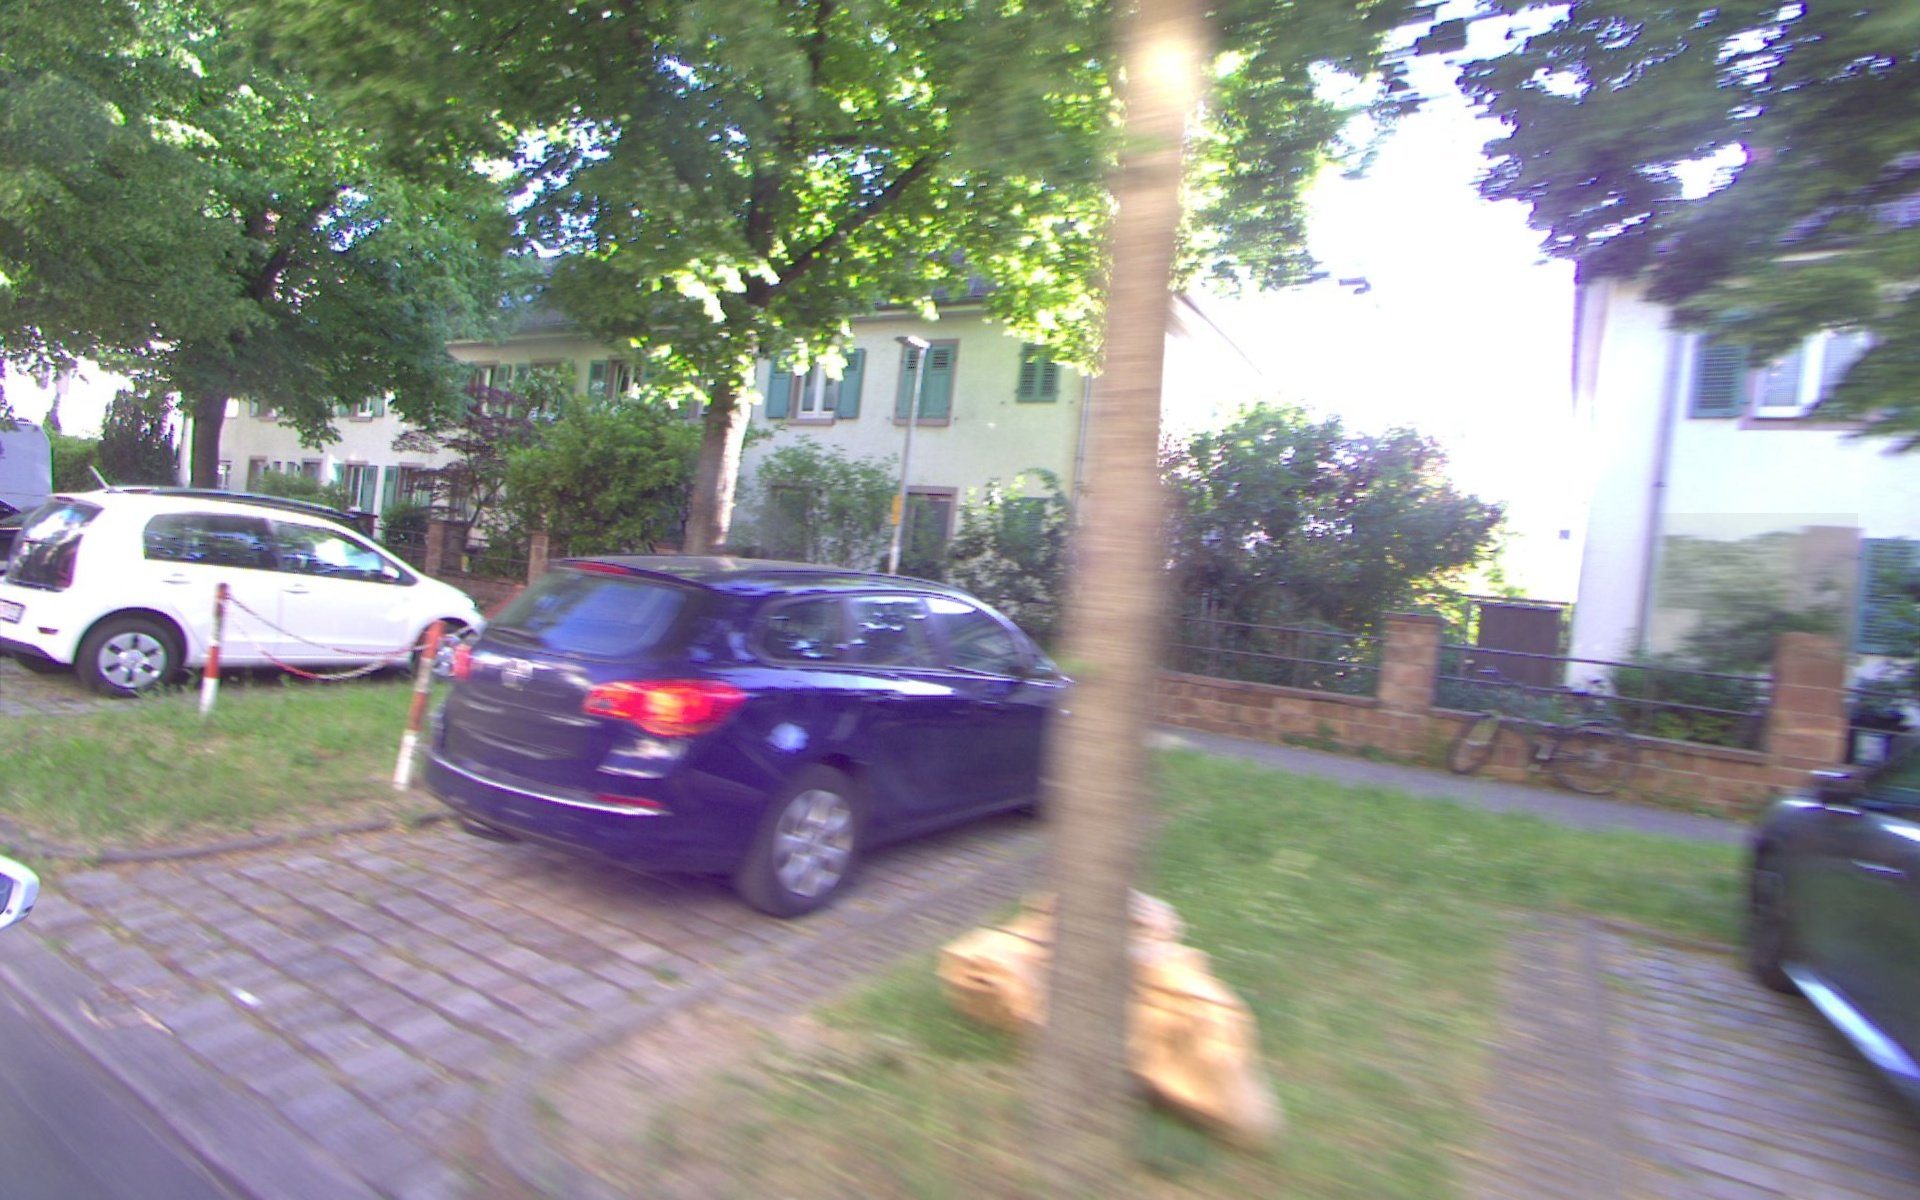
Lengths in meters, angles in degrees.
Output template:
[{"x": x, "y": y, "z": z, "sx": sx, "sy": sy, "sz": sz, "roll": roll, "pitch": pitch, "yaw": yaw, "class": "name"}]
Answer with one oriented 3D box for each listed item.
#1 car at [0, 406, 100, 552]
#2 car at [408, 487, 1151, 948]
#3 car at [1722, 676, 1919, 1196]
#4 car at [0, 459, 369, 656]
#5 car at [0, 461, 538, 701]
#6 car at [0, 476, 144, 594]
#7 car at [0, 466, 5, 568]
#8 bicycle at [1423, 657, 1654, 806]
[{"x": -22.727, "y": -2.853, "z": 20.698, "sx": 2.422, "sy": 3.017, "sz": 7.154, "roll": 7, "pitch": 1, "yaw": 29, "class": "car"}, {"x": -0.549, "y": 0.491, "z": 5.757, "sx": 1.664, "sy": 1.619, "sz": 4.225, "roll": 5, "pitch": -1, "yaw": 33, "class": "car"}, {"x": 3.797, "y": 1.079, "z": 2.966, "sx": 1.661, "sy": 1.472, "sz": 4.040, "roll": 7, "pitch": 0, "yaw": 27, "class": "car"}, {"x": -8.352, "y": -0.373, "z": 9.750, "sx": 1.675, "sy": 1.619, "sz": 4.141, "roll": 5, "pitch": -1, "yaw": 33, "class": "car"}, {"x": -5.958, "y": -0.081, "z": 8.838, "sx": 1.663, "sy": 1.619, "sz": 3.775, "roll": 6, "pitch": 0, "yaw": 33, "class": "car"}, {"x": -14.910, "y": -1.074, "z": 14.776, "sx": 1.674, "sy": 1.619, "sz": 4.145, "roll": 5, "pitch": -1, "yaw": 29, "class": "car"}, {"x": -17.470, "y": -1.462, "z": 15.217, "sx": 1.613, "sy": 1.672, "sz": 4.084, "roll": 6, "pitch": 3, "yaw": 29, "class": "car"}, {"x": 5.549, "y": 1.221, "z": 9.739, "sx": 1.789, "sy": 1.143, "sz": 0.564, "roll": 6, "pitch": 2, "yaw": 32, "class": "bicycle"}]
